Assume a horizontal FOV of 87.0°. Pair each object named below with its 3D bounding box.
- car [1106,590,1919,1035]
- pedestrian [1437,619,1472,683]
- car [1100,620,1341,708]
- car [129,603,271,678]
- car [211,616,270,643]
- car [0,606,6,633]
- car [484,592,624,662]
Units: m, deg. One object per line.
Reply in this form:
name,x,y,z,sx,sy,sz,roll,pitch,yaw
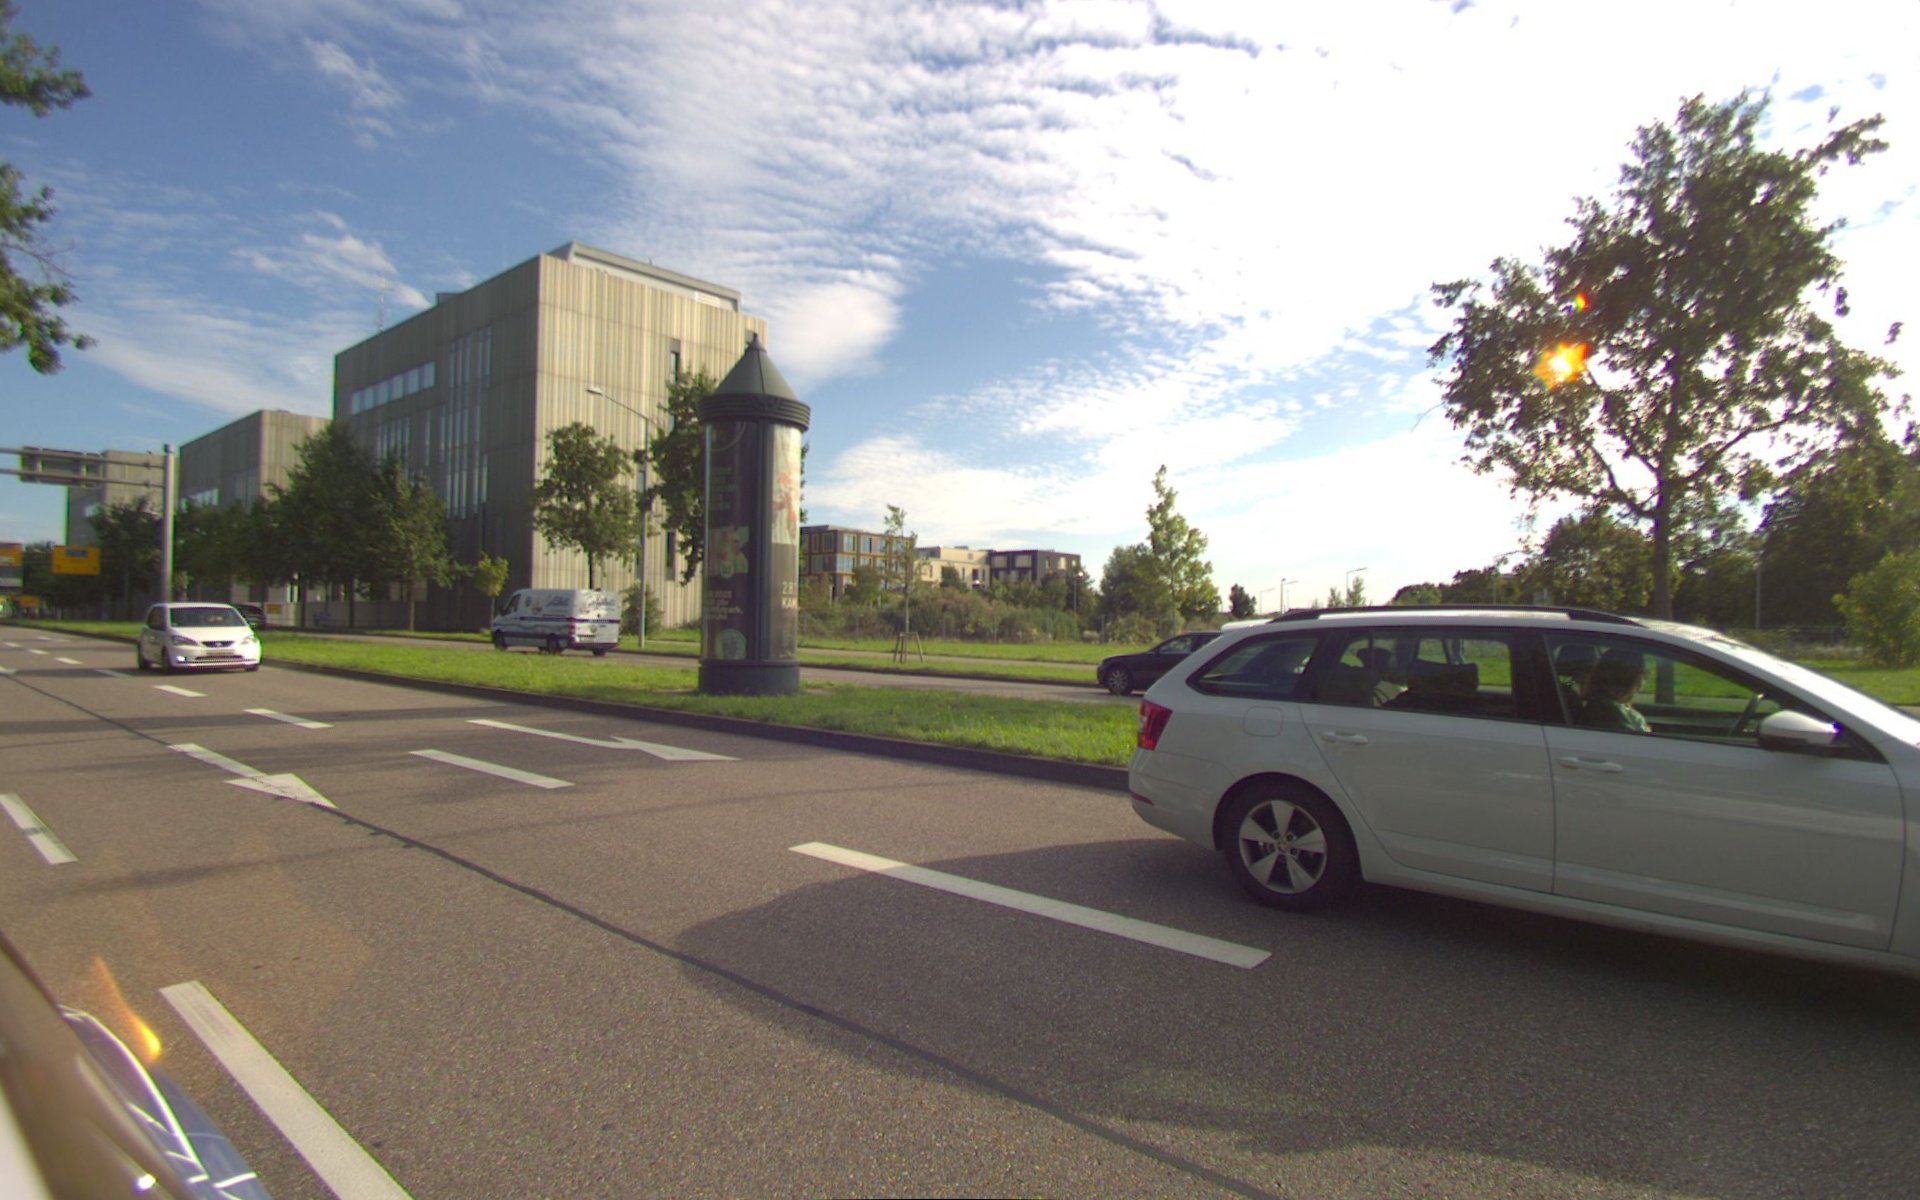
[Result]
car,3.112,0.709,4.579,4.636,1.456,1.831,0,-1,41
pedestrian,12.892,1.311,26.377,0.658,1.642,0.620,-1,-1,43
car,5.266,1.267,20.787,4.453,1.584,1.831,0,-4,41
car,-16.422,0.808,21.811,3.658,1.475,1.743,0,-1,41
car,-42.367,1.722,59.563,4.453,1.475,1.831,0,-1,41
car,-52.231,1.011,53.701,4.444,1.431,1.800,-1,-3,40
car,-14.410,0.946,35.785,5.534,2.272,2.007,0,-3,38
